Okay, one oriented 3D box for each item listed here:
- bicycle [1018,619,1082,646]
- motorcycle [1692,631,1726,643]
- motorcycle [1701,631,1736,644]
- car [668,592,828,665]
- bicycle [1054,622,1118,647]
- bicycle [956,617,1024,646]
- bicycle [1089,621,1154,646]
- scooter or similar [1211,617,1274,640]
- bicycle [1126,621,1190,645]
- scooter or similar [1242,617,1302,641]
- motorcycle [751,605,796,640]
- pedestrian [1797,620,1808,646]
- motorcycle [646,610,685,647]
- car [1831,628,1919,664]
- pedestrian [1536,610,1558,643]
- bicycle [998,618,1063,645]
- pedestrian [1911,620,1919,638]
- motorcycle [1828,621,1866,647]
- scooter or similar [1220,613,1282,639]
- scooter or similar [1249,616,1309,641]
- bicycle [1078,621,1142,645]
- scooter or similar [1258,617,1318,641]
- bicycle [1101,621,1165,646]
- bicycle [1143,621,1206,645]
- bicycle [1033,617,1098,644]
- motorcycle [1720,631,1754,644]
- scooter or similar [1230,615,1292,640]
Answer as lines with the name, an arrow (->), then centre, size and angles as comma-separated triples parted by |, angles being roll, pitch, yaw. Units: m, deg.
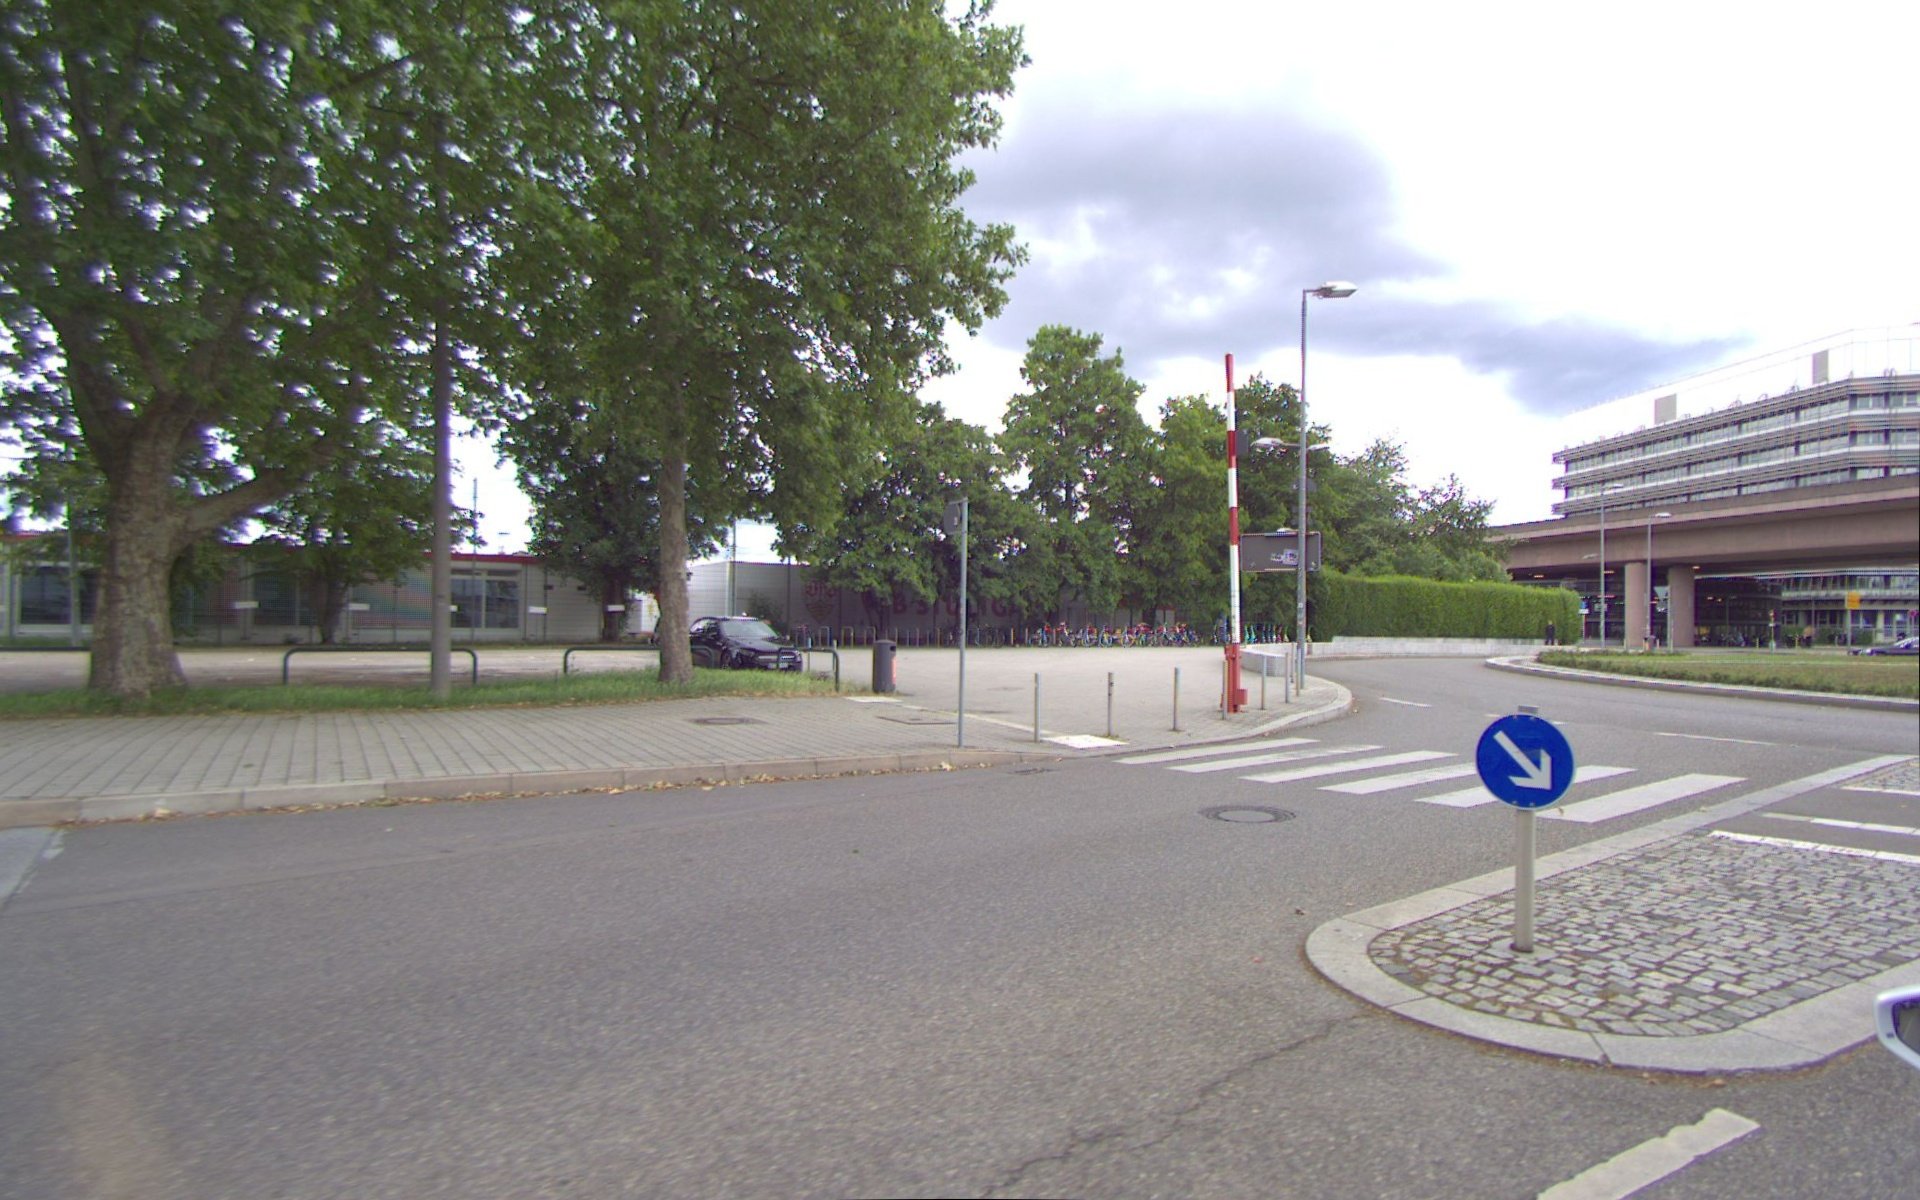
bicycle -> 4.113, 1.482, 46.128 | 3.147, 1.112, 0.769 | 1, 0, 44
motorcycle -> 72.326, 3.574, 97.041 | 1.021, 1.127, 2.656 | 1, -1, -11
motorcycle -> 73.544, 3.609, 97.424 | 1.021, 1.127, 2.656 | 1, -1, -11
car -> -5.260, 0.679, 24.586 | 2.215, 1.626, 3.953 | 2, -2, -41
bicycle -> 5.909, 1.603, 47.225 | 3.146, 1.112, 0.769 | 0, -1, 43
bicycle -> 1.260, 1.328, 43.092 | 3.147, 1.112, 0.769 | 1, 0, 44
bicycle -> 7.756, 1.586, 48.391 | 3.146, 1.112, 0.769 | 1, -1, 43
scooter or similar -> 14.776, 1.462, 52.555 | 3.146, 1.112, 0.769 | 1, -1, 43
bicycle -> 9.812, 1.618, 49.855 | 3.146, 1.112, 0.769 | 1, -1, 43
scooter or similar -> 17.116, 1.580, 55.178 | 3.146, 1.266, 0.769 | 1, -1, 43
motorcycle -> -7.094, 0.831, 38.045 | 0.763, 1.238, 3.649 | 2, -1, -25
pedestrian -> 67.091, 2.589, 79.967 | 0.595, 2.040, 0.582 | 2, 0, -44
motorcycle -> -10.762, 1.015, 36.611 | 0.763, 1.238, 3.649 | 2, -1, -25
car -> 41.529, 2.040, 43.960 | 4.846, 1.480, 1.996 | 1, -1, 30
pedestrian -> 37.018, 1.659, 63.322 | 0.595, 2.040, 1.033 | 2, -1, -43
bicycle -> 3.151, 1.404, 45.163 | 3.147, 1.112, 0.769 | 1, 0, 44
pedestrian -> 107.367, 3.287, 112.700 | 0.663, 2.040, 0.772 | 1, -1, -32
motorcycle -> 43.730, 1.675, 49.519 | 1.858, 1.268, 0.667 | 2, 0, -22
scooter or similar -> 15.394, 1.381, 53.269 | 3.146, 1.266, 0.769 | 1, -1, 43
scooter or similar -> 17.804, 1.573, 56.056 | 3.146, 1.266, 0.769 | 1, -1, 43
bicycle -> 7.066, 1.570, 47.442 | 3.147, 1.111, 0.769 | -1, -2, 43
scooter or similar -> 18.501, 1.643, 56.683 | 3.146, 1.266, 0.769 | 1, -1, 43
bicycle -> 8.447, 1.645, 49.224 | 3.146, 1.112, 0.769 | 1, -1, 43
bicycle -> 10.779, 1.633, 50.570 | 3.146, 1.112, 0.769 | 1, -1, 43
bicycle -> 4.881, 1.409, 46.727 | 3.146, 1.112, 0.769 | 1, -1, 43
motorcycle -> 75.314, 3.653, 97.396 | 1.021, 1.127, 2.656 | 1, -1, -11
scooter or similar -> 16.169, 1.480, 54.073 | 3.146, 1.266, 0.769 | 1, -1, 43
